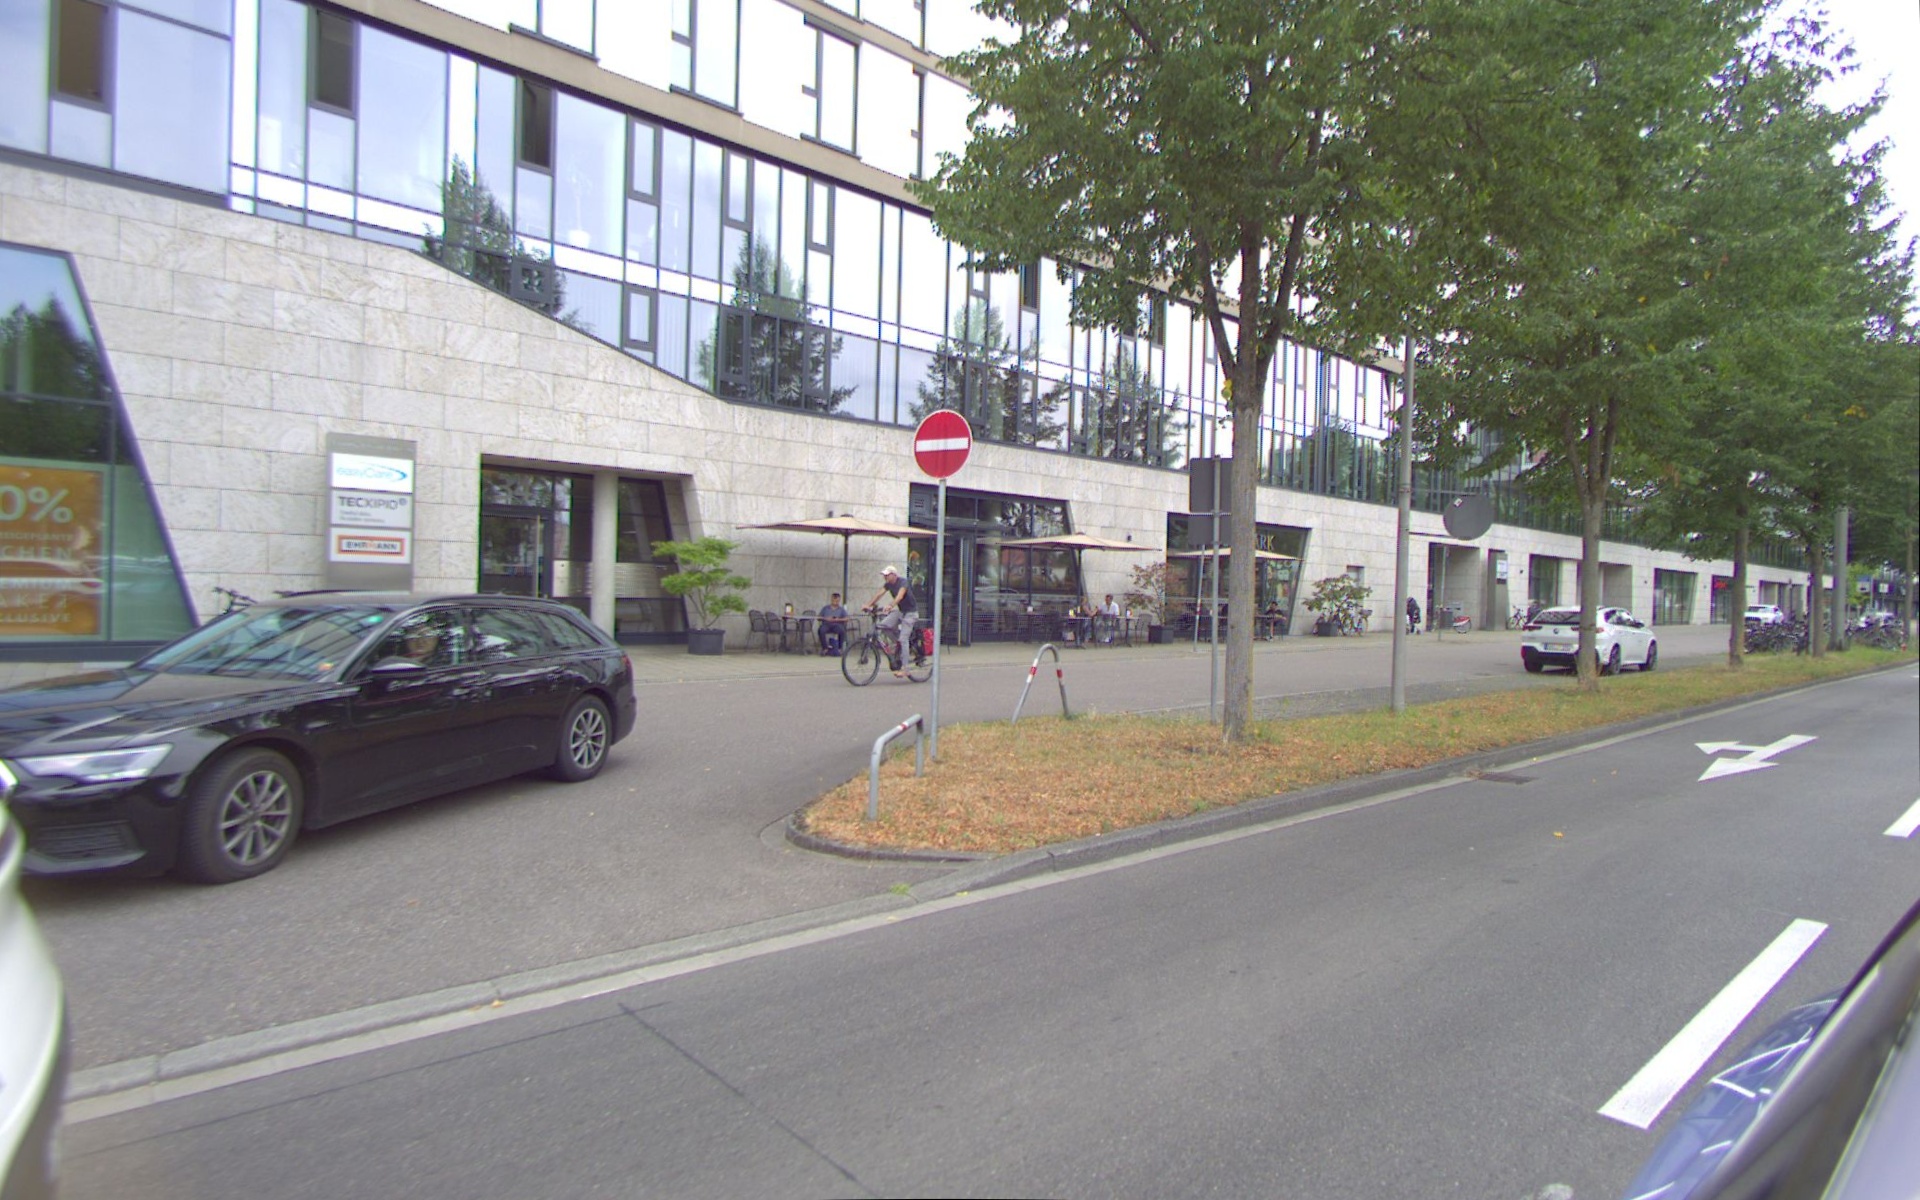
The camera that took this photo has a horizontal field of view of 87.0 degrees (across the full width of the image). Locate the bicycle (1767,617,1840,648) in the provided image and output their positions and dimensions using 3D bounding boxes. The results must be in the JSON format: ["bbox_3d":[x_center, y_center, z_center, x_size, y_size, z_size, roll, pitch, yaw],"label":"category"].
[{"bbox_3d":[30.116,1.162,36.160,0.631,1.079,1.931,1,-3,-43],"label":"bicycle"}]

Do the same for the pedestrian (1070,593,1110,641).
[{"bbox_3d":[3.419,0.439,26.606,0.745,1.207,0.720,1,0,-41],"label":"pedestrian"}]

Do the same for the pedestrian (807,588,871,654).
[{"bbox_3d":[-2.401,0.401,20.078,0.932,1.243,0.900,1,1,-36],"label":"pedestrian"}]

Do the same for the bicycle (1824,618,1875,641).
[{"bbox_3d":[37.358,1.244,42.517,0.476,0.965,1.530,1,-2,-43],"label":"bicycle"}]

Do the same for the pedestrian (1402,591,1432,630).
[{"bbox_3d":[17.254,0.398,38.230,0.707,1.424,0.759,1,0,-33],"label":"pedestrian"}]

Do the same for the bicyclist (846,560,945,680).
[{"bbox_3d":[-1.019,0.296,15.961,1.110,1.758,0.999,1,3,-42],"label":"bicyclist"}]

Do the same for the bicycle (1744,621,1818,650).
[{"bbox_3d":[27.857,1.215,34.355,0.493,0.963,1.862,1,-3,-43],"label":"bicycle"}]

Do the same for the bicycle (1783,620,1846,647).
[{"bbox_3d":[31.579,1.242,37.405,1.742,0.987,0.600,-2,-3,42],"label":"bicycle"}]

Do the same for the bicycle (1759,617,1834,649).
[{"bbox_3d":[29.506,1.163,35.726,0.693,1.079,1.931,1,-3,-43],"label":"bicycle"}]

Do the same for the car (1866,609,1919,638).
[{"bbox_3d":[49.474,1.209,53.585,4.109,1.439,1.763,1,0,-41],"label":"car"}]

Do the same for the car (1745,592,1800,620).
[{"bbox_3d":[51.041,0.364,63.551,4.165,1.607,1.862,1,3,-41],"label":"car"}]

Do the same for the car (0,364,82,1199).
[{"bbox_3d":[-3.077,0.571,0.480,3.952,1.678,1.782,1,-1,-40],"label":"car"}]

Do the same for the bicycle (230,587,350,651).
[{"bbox_3d":[-10.196,0.279,15.432,1.466,0.921,0.519,1,1,-41],"label":"bicycle"}]

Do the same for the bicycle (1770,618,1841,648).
[{"bbox_3d":[30.628,1.195,36.666,1.927,1.079,0.535,-2,-3,42],"label":"bicycle"}]

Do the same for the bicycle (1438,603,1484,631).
[{"bbox_3d":[20.240,0.682,40.925,1.585,1.039,0.606,2,1,23],"label":"bicycle"}]

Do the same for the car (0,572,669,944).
[{"bbox_3d":[-4.070,0.608,6.728,1.919,1.494,4.849,2,1,14],"label":"car"}]

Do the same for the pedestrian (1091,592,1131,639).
[{"bbox_3d":[4.058,0.409,27.147,0.745,1.207,0.720,1,0,-39],"label":"pedestrian"}]

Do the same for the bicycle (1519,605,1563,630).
[{"bbox_3d":[26.077,0.774,45.463,0.524,1.039,1.599,1,2,-43],"label":"bicycle"}]

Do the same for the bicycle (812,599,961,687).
[{"bbox_3d":[-1.126,0.638,15.959,2.229,1.250,0.904,1,2,-42],"label":"bicycle"}]

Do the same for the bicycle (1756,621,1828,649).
[{"bbox_3d":[28.986,1.215,35.286,0.602,0.963,1.862,1,-3,-43],"label":"bicycle"}]

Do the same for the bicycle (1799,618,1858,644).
[{"bbox_3d":[33.749,1.216,39.338,1.713,0.987,0.600,-2,-3,42],"label":"bicycle"}]

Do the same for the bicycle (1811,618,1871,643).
[{"bbox_3d":[35.706,1.239,41.034,1.770,1.025,0.601,-2,-3,42],"label":"bicycle"}]

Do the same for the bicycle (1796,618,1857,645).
[{"bbox_3d":[33.291,1.216,38.891,1.742,0.987,0.600,-2,-3,42],"label":"bicycle"}]

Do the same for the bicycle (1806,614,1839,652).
[{"bbox_3d":[26.362,1.003,30.921,0.709,1.130,2.170,-3,-3,41],"label":"bicycle"}]

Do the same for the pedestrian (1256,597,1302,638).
[{"bbox_3d":[9.782,0.541,31.074,1.083,1.207,0.776,1,0,-25],"label":"pedestrian"}]

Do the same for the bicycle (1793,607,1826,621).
[{"bbox_3d":[75.314,1.250,89.712,2.231,1.191,0.961,2,1,43],"label":"bicycle"}]

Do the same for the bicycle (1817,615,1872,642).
[{"bbox_3d":[36.777,1.174,42.086,0.516,1.104,1.669,1,-2,-43],"label":"bicycle"}]

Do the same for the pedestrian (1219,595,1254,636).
[{"bbox_3d":[8.390,0.470,30.712,0.743,1.207,0.722,1,0,-18],"label":"pedestrian"}]

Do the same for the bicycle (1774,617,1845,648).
[{"bbox_3d":[31.063,1.197,37.033,1.927,1.079,0.535,-2,-3,42],"label":"bicycle"}]

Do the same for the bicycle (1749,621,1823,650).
[{"bbox_3d":[28.416,1.215,34.832,0.642,0.963,1.862,1,-3,-43],"label":"bicycle"}]

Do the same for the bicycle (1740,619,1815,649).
[{"bbox_3d":[27.379,1.142,33.907,0.564,1.008,1.862,1,-3,-43],"label":"bicycle"}]

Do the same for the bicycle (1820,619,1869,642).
[{"bbox_3d":[37.761,1.284,43.214,0.543,0.965,1.530,1,-2,-43],"label":"bicycle"}]

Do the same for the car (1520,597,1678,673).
[{"bbox_3d":[15.024,0.767,23.686,4.513,1.571,1.941,1,1,-42],"label":"car"}]
